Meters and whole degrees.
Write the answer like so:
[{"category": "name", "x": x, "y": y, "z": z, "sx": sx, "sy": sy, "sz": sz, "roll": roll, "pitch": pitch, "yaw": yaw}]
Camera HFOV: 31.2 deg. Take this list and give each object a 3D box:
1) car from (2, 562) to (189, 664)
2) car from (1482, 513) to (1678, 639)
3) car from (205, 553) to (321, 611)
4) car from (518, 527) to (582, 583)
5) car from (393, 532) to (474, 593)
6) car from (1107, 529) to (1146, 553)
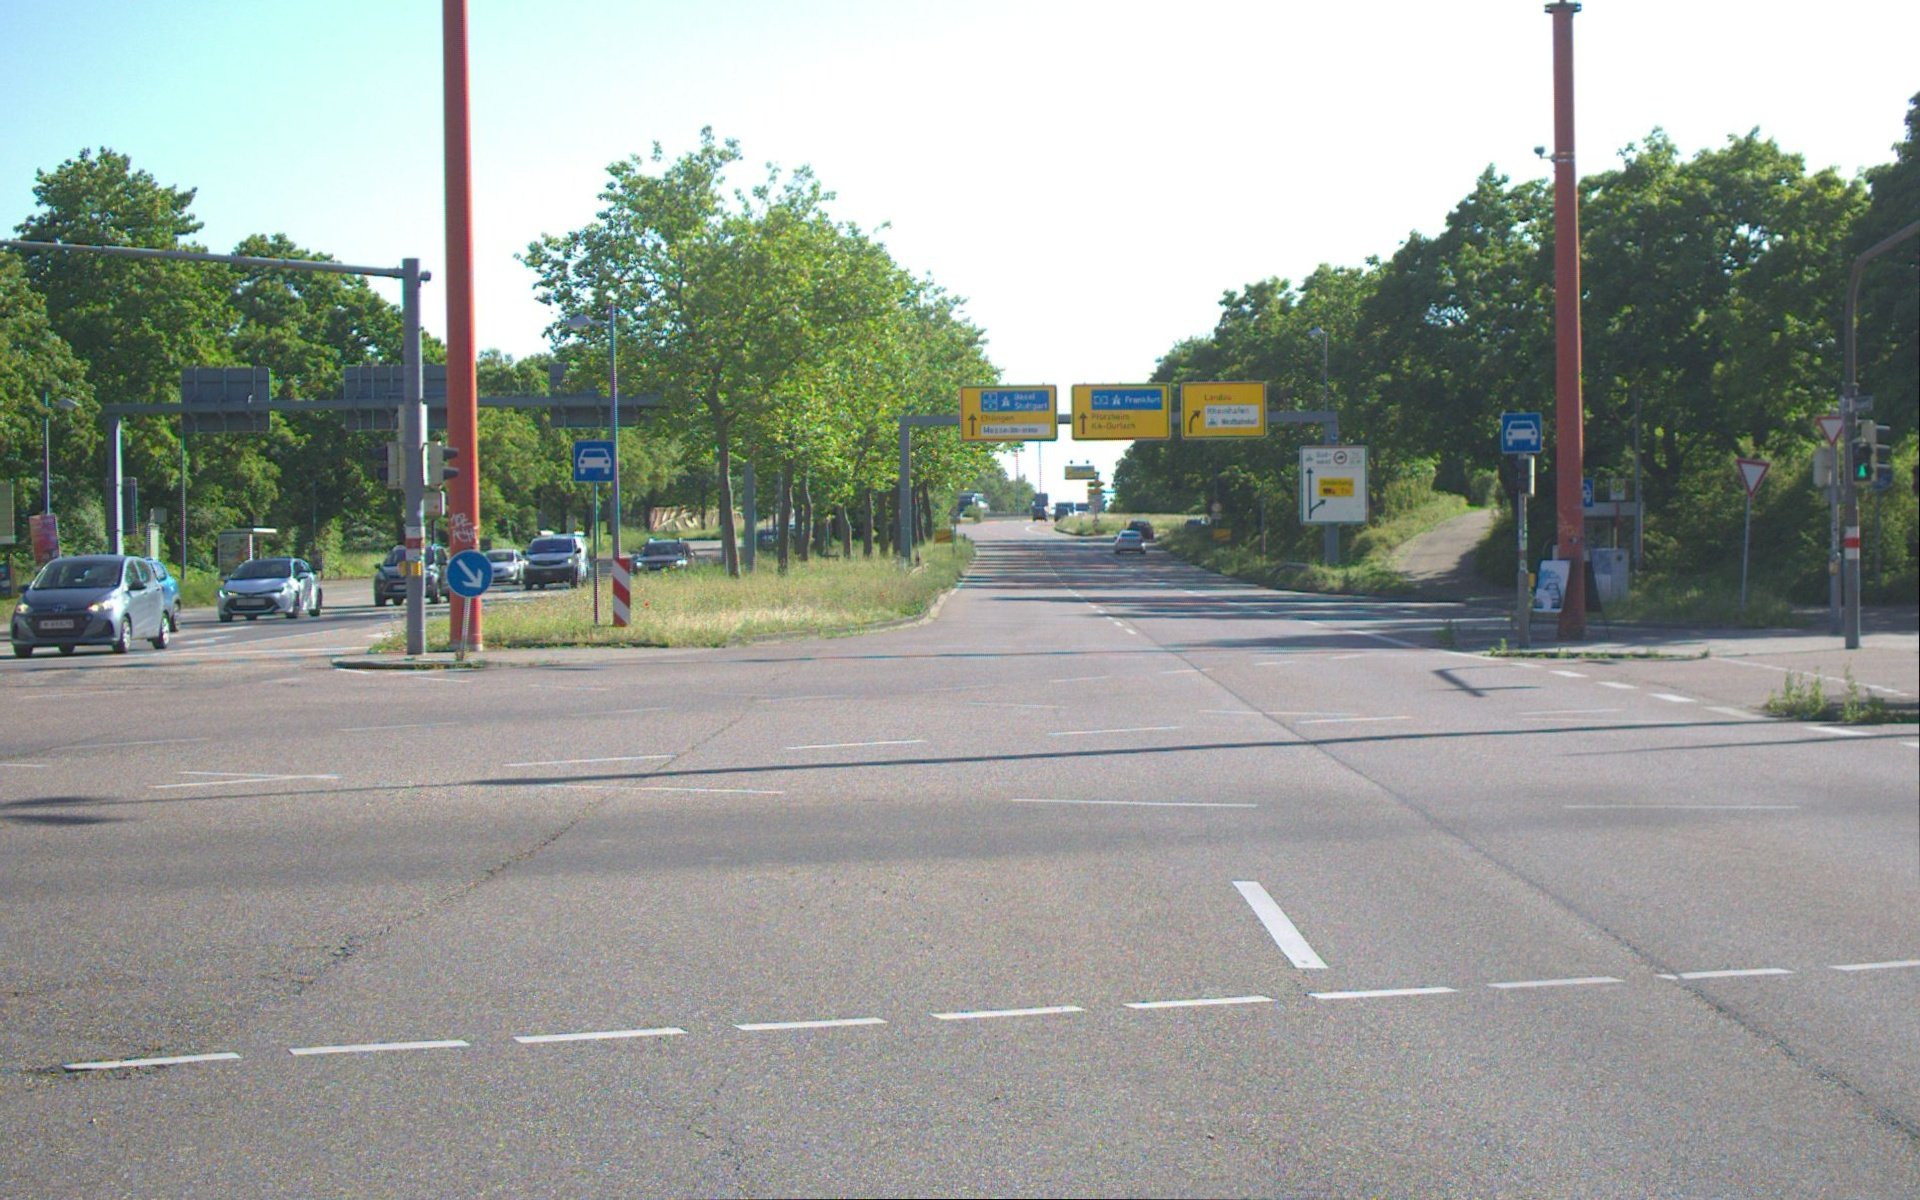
[{"category": "car", "x": -13.053, "y": 0.177, "z": 52.128, "sx": 1.701, "sy": 1.416, "sz": 4.000, "roll": 3, "pitch": 0, "yaw": 1}, {"category": "car", "x": 9.725, "y": -0.395, "z": 53.707, "sx": 1.996, "sy": 1.881, "sz": 3.995, "roll": 0, "pitch": 1, "yaw": 26}, {"category": "car", "x": -16.303, "y": -0.440, "z": 80.579, "sx": 2.003, "sy": 1.303, "sz": 4.000, "roll": 0, "pitch": 1, "yaw": -2}, {"category": "car", "x": -15.079, "y": -1.658, "z": 126.563, "sx": 2.003, "sy": 2.007, "sz": 4.000, "roll": 1, "pitch": 1, "yaw": -2}, {"category": "car", "x": -15.115, "y": -1.092, "z": 98.881, "sx": 1.625, "sy": 1.733, "sz": 4.000, "roll": 0, "pitch": 1, "yaw": 1}, {"category": "car", "x": 10.091, "y": -3.577, "z": 208.384, "sx": 2.054, "sy": 1.366, "sz": 4.392, "roll": 0, "pitch": 1, "yaw": -1}]
